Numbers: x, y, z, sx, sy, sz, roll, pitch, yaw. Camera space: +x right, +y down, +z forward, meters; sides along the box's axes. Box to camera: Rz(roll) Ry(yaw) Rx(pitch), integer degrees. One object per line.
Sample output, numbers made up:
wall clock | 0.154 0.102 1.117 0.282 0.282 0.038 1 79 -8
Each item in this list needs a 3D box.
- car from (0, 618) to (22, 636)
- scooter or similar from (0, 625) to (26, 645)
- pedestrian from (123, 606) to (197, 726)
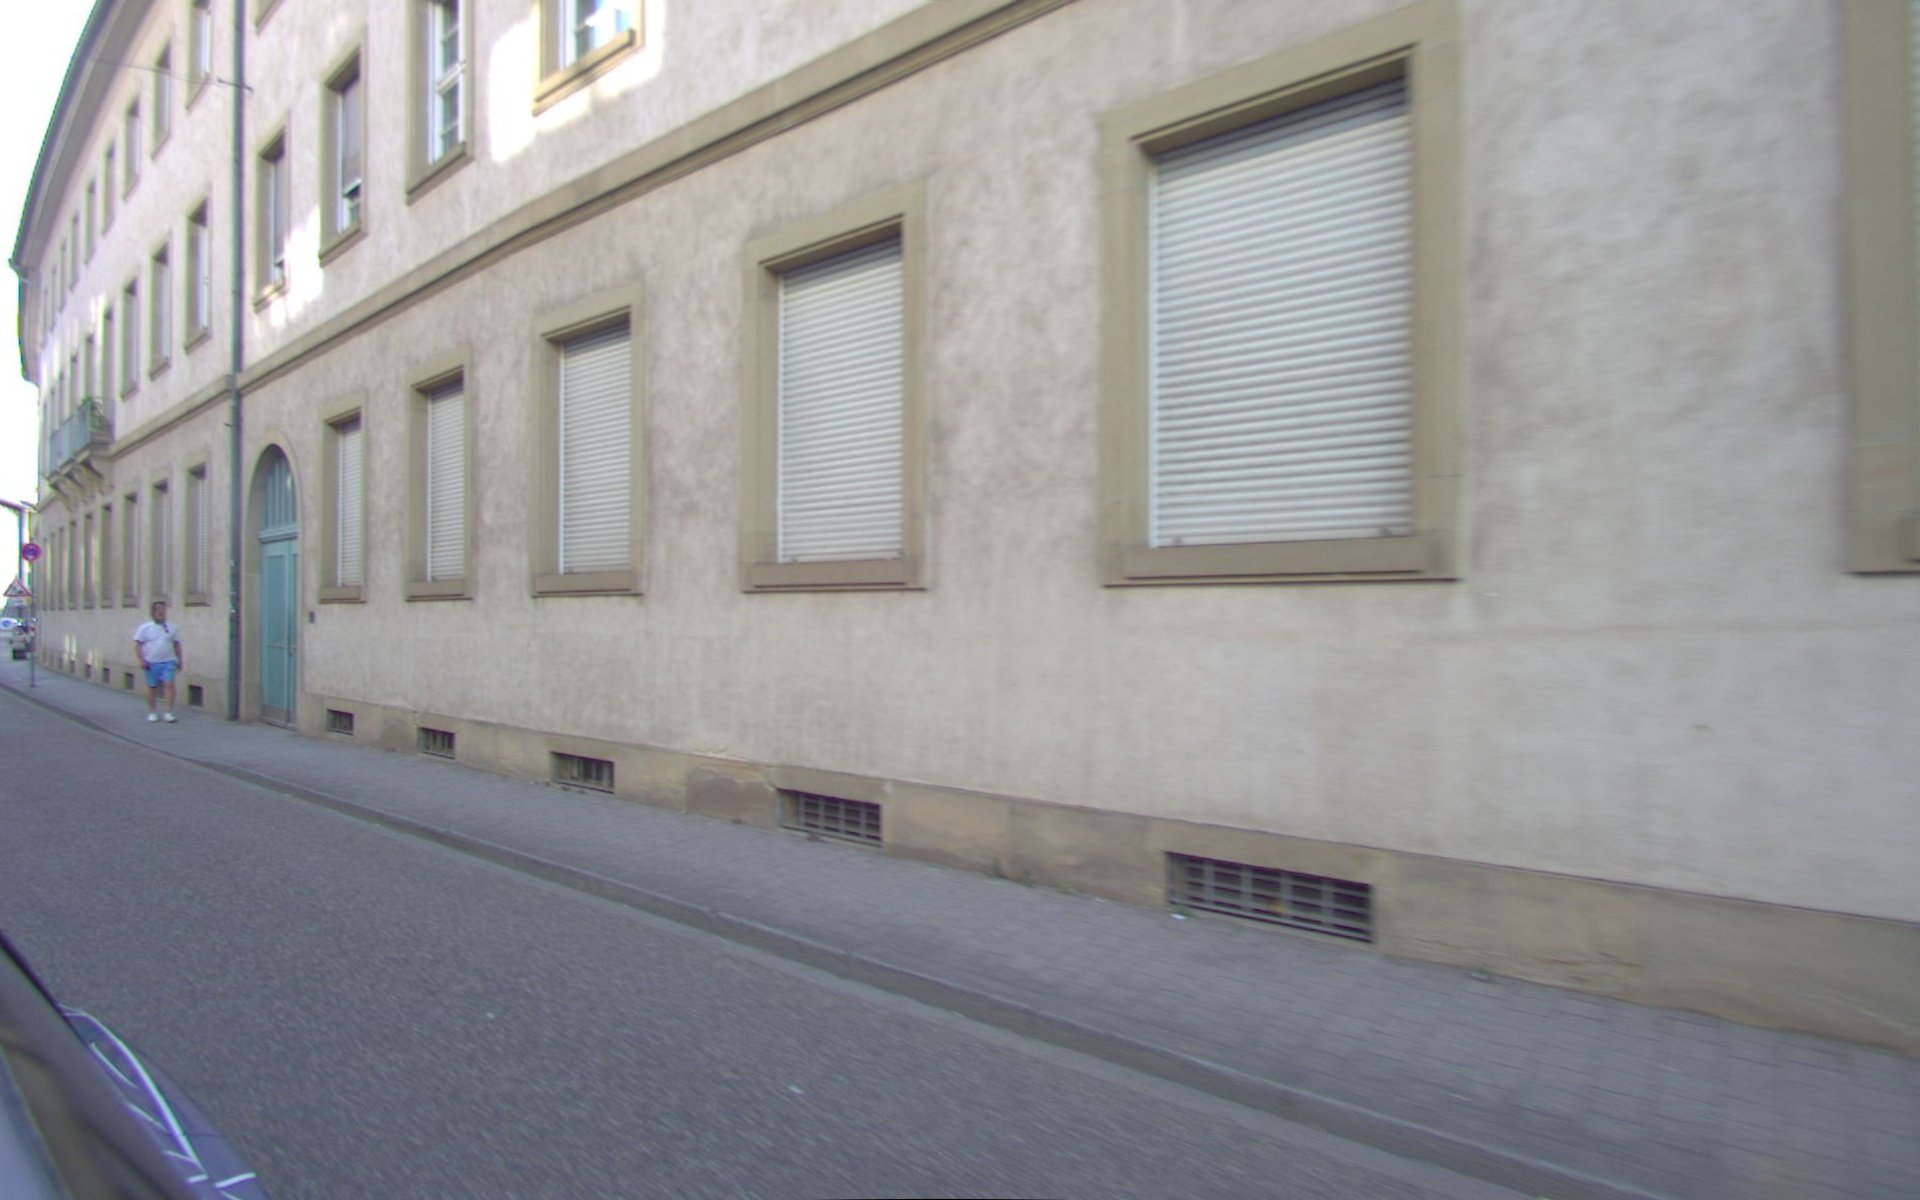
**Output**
car | -79.371 2.244 83.623 1.933 1.418 4.208 -2 0 -32
scooter or similar | -57.270 2.112 61.132 0.461 1.234 1.300 0 -2 -1
pedestrian | -11.814 0.945 14.947 0.875 1.682 0.685 -1 1 42
